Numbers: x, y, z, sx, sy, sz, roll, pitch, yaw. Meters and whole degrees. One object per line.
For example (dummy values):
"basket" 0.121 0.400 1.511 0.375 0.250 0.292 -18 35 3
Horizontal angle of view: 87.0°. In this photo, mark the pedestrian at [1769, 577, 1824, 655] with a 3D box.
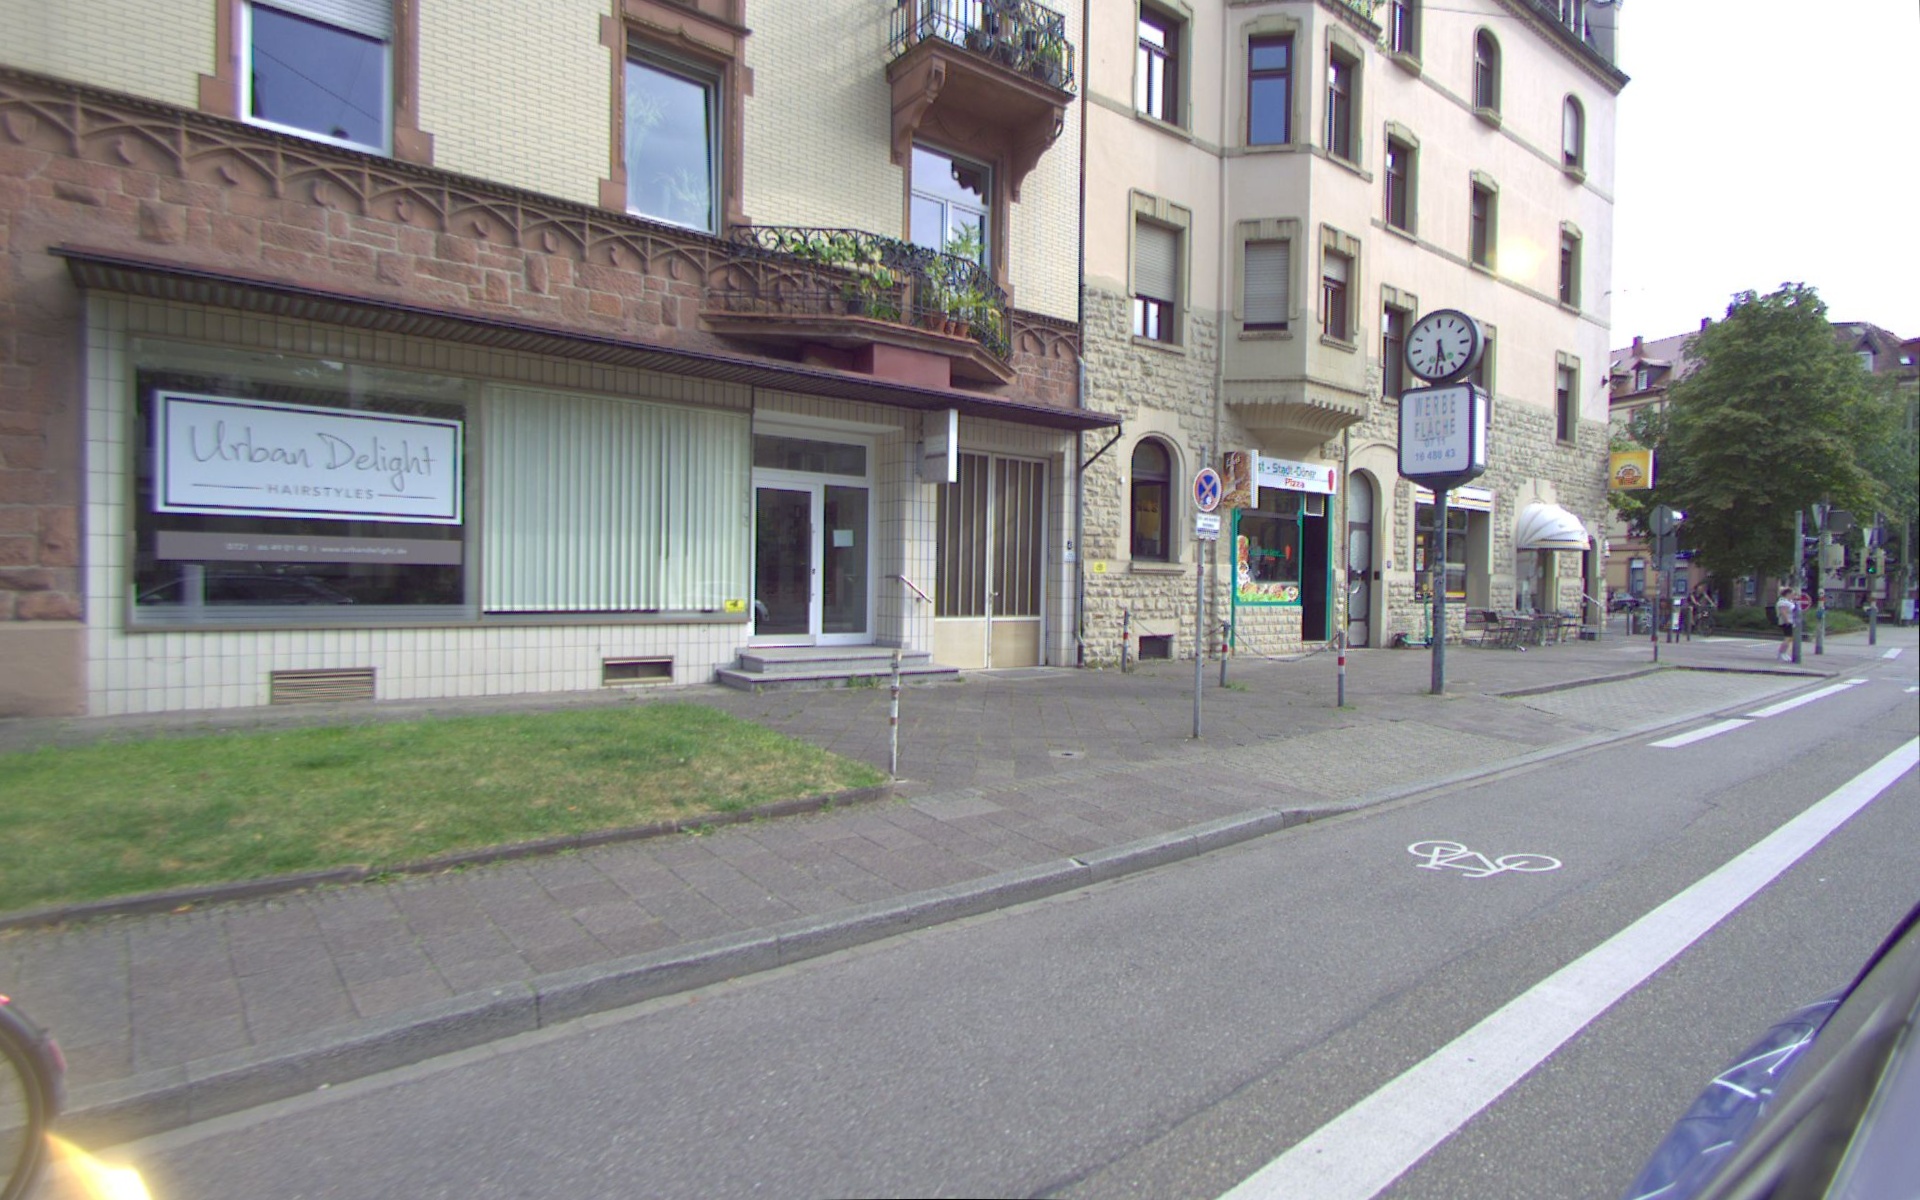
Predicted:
"pedestrian" 19.060 0.348 23.060 0.746 1.680 0.721 0 5 -41

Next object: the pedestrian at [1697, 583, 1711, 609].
"pedestrian" 49.644 -0.247 67.494 0.630 1.715 0.611 0 1 -43

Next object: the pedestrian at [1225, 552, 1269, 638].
"pedestrian" 5.448 -0.105 19.209 0.551 1.600 0.551 0 1 -38

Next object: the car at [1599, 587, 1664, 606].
"car" 47.354 -0.259 71.460 1.702 1.282 3.597 0 0 -14

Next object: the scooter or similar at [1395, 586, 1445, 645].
"scooter or similar" 9.560 0.312 21.025 1.174 1.182 0.398 0 3 -38

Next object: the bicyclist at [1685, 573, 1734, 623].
"bicyclist" 26.220 -0.074 35.421 0.825 1.711 1.244 1 0 8

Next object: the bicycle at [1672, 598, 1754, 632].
"bicycle" 26.185 0.483 35.291 0.871 1.058 3.091 1 1 8

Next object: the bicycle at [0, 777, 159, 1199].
"bicycle" -2.606 0.947 1.642 2.035 0.993 0.639 0 -1 -40
